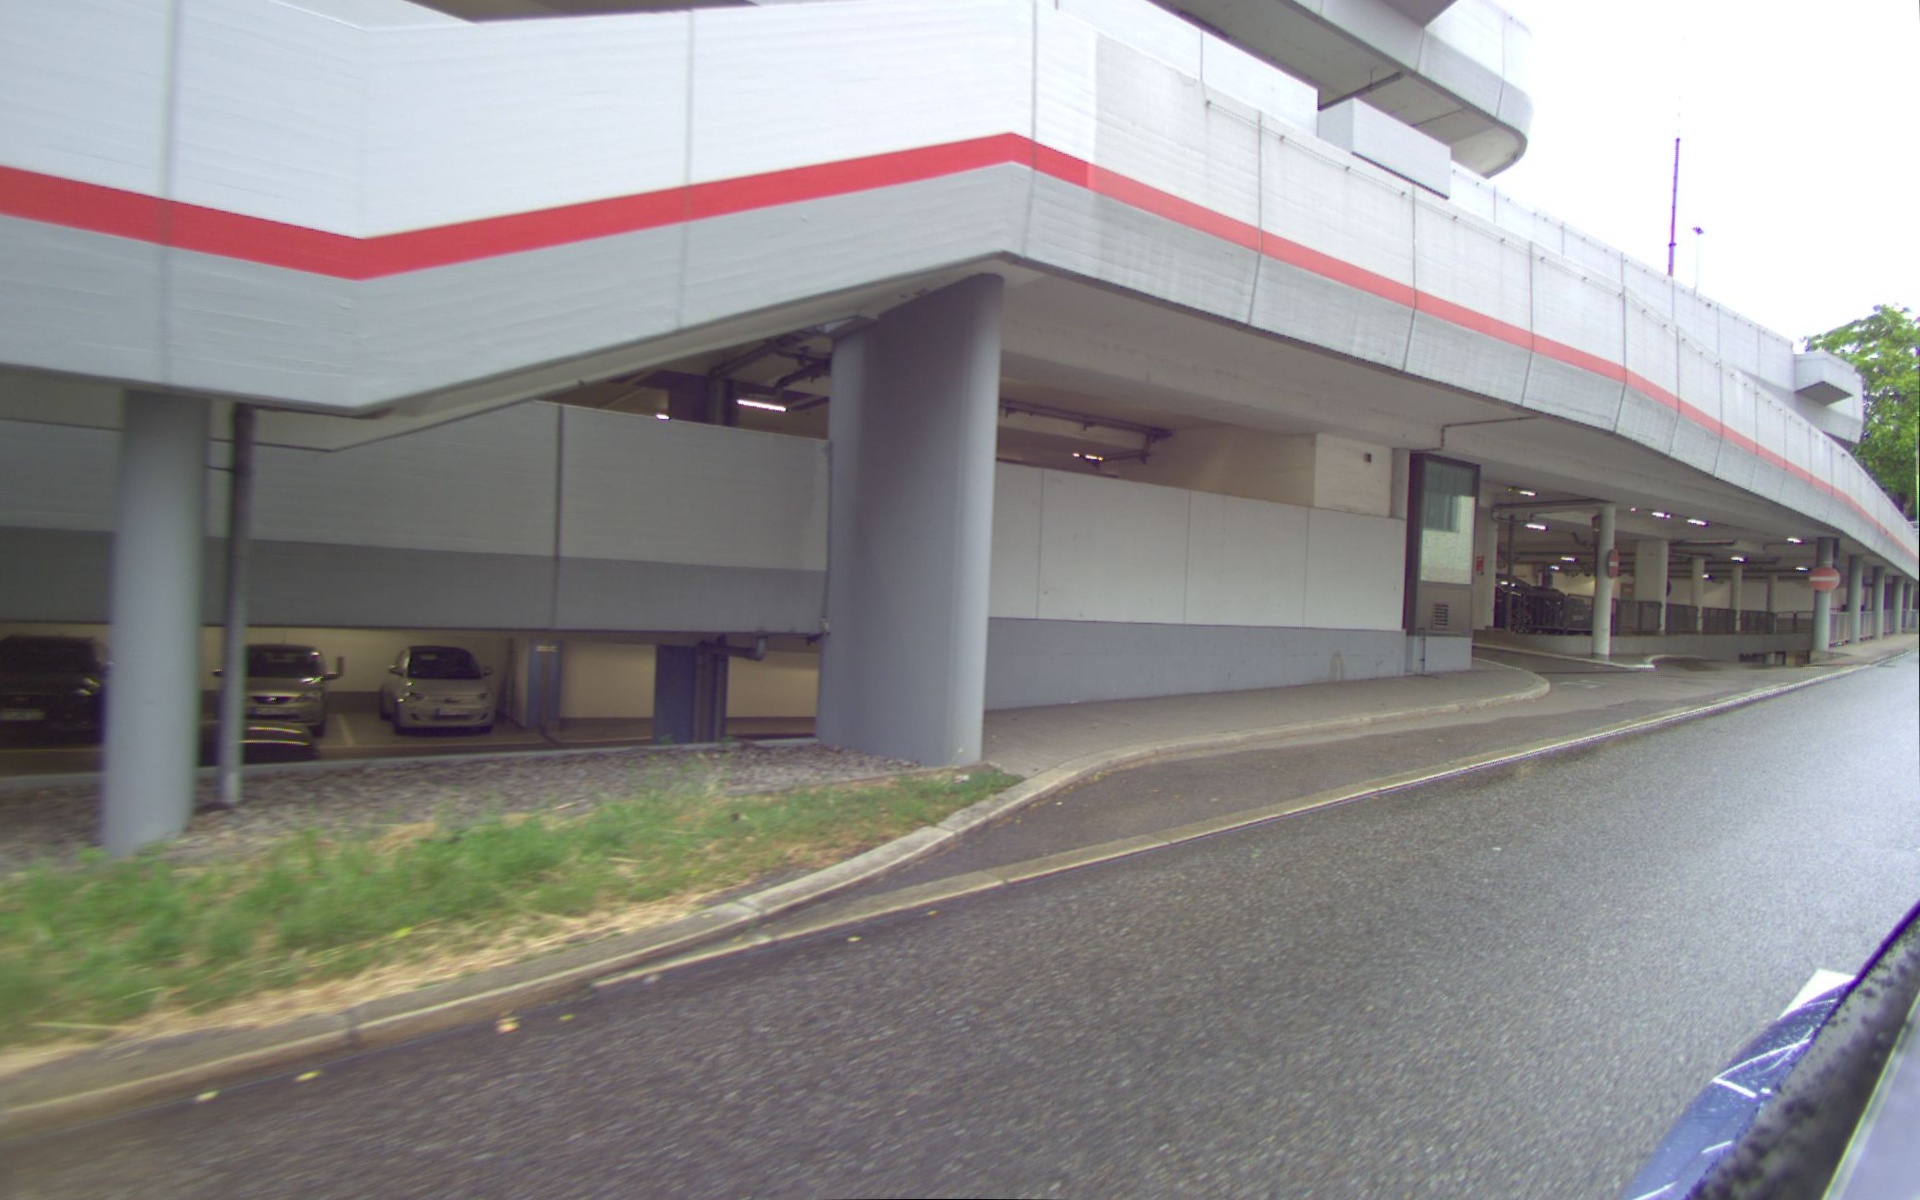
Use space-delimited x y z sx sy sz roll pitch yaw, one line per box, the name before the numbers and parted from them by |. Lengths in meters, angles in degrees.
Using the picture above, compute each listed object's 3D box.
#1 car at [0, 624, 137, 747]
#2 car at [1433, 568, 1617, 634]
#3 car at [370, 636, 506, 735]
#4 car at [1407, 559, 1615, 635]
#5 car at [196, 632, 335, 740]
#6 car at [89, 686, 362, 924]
car | -14.588 1.283 16.178 1.803 1.560 4.001 4 -1 -35
car | 16.486 -0.003 29.736 1.960 1.682 4.261 5 -2 -31
car | -10.360 1.611 19.929 1.803 1.560 4.001 4 -1 -35
car | 14.157 -0.088 26.244 1.960 1.682 4.261 5 -2 -31
car | -12.587 1.480 18.399 1.803 1.560 4.001 4 -1 -35
car | -7.354 1.847 10.315 1.803 1.560 3.943 4 -1 -35
